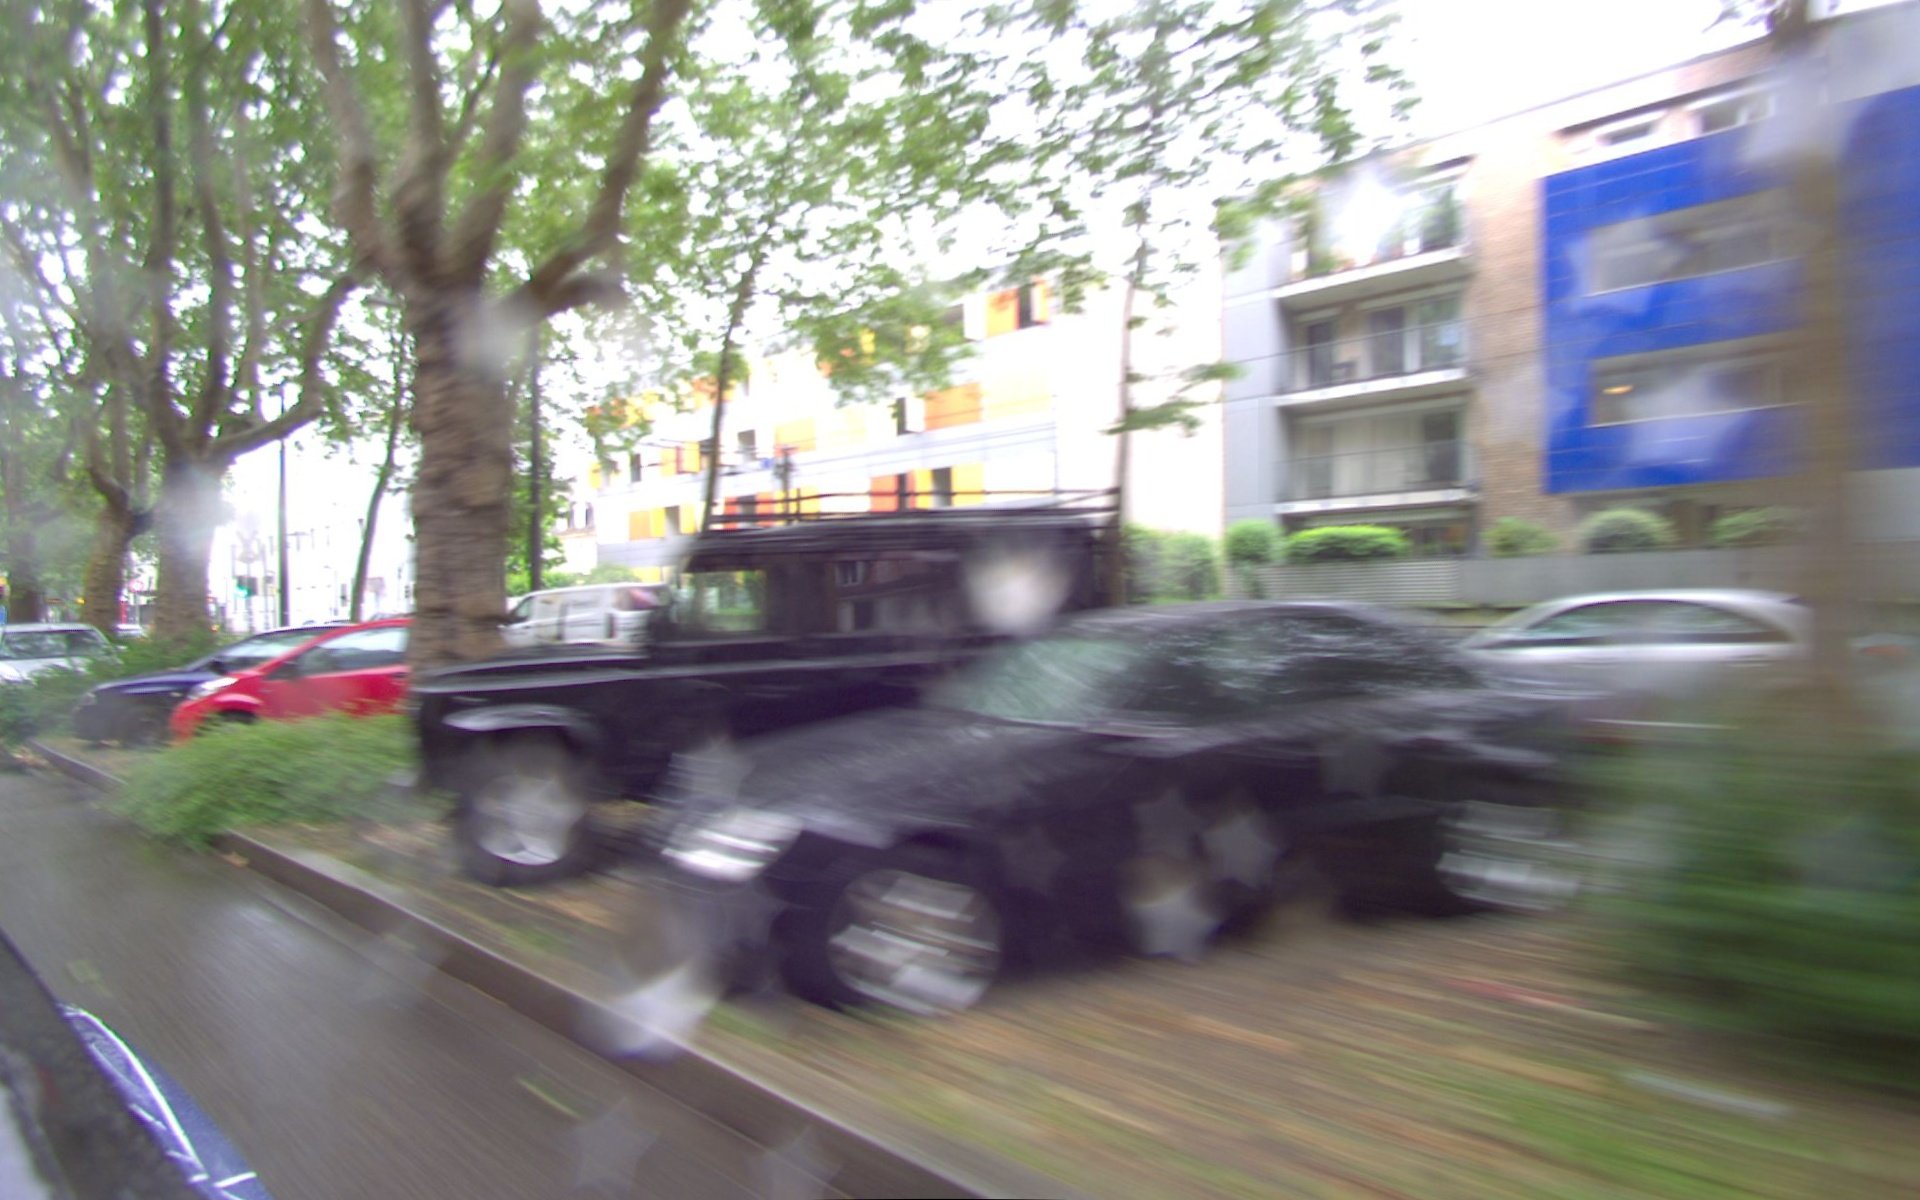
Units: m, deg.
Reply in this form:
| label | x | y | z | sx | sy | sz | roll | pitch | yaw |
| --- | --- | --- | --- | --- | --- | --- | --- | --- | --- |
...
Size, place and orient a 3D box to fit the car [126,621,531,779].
| label | x | y | z | sx | sy | sz | roll | pitch | yaw |
| --- | --- | --- | --- | --- | --- | --- | --- | --- | --- |
| car | -6.524 | 0.970 | 10.937 | 3.442 | 1.447 | 1.787 | 0 | -2 | -22 |

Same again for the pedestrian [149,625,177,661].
| label | x | y | z | sx | sy | sz | roll | pitch | yaw |
| --- | --- | --- | --- | --- | --- | --- | --- | --- | --- |
| pedestrian | -40.663 | 2.182 | 51.632 | 1.205 | 1.813 | 0.926 | -1 | -1 | 41 |

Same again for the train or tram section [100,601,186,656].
| label | x | y | z | sx | sy | sz | roll | pitch | yaw |
| --- | --- | --- | --- | --- | --- | --- | --- | --- | --- |
| train or tram section | -58.656 | 2.014 | 72.512 | 11.547 | 3.669 | 2.869 | -2 | 0 | 42 |

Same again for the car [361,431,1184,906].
| label | x | y | z | sx | sy | sz | roll | pitch | yaw |
| --- | --- | --- | --- | --- | --- | --- | --- | --- | --- |
| car | -1.088 | 0.352 | 6.633 | 4.580 | 2.300 | 2.018 | 0 | -2 | -20 |

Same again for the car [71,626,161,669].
| label | x | y | z | sx | sy | sz | roll | pitch | yaw |
| --- | --- | --- | --- | --- | --- | --- | --- | --- | --- |
| car | -30.390 | 1.684 | 36.418 | 3.997 | 1.431 | 1.815 | -2 | -1 | 40 |

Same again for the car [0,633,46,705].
| label | x | y | z | sx | sy | sz | roll | pitch | yaw |
| --- | --- | --- | --- | --- | --- | --- | --- | --- | --- |
| car | -22.275 | 1.548 | 22.856 | 4.619 | 1.496 | 1.876 | -2 | 0 | 41 |

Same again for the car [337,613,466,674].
| label | x | y | z | sx | sy | sz | roll | pitch | yaw |
| --- | --- | --- | --- | --- | --- | --- | --- | --- | --- |
| car | -16.272 | 1.243 | 29.398 | 4.465 | 1.612 | 1.884 | -2 | -1 | 41 |

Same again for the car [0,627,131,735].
| label | x | y | z | sx | sy | sz | roll | pitch | yaw |
| --- | --- | --- | --- | --- | --- | --- | --- | --- | --- |
| car | -15.234 | 1.263 | 16.698 | 4.205 | 1.526 | 1.711 | -2 | 0 | 41 |

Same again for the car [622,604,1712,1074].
| label | x | y | z | sx | sy | sz | roll | pitch | yaw |
| --- | --- | --- | --- | --- | --- | --- | --- | --- | --- |
| car | 0.924 | 0.713 | 4.615 | 4.579 | 1.336 | 1.853 | 0 | -2 | -22 |

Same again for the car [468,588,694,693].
| label | x | y | z | sx | sy | sz | roll | pitch | yaw |
| --- | --- | --- | --- | --- | --- | --- | --- | --- | --- |
| car | -8.397 | 0.858 | 22.166 | 5.426 | 2.012 | 2.035 | -2 | 0 | 38 |

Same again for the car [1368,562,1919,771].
| label | x | y | z | sx | sy | sz | roll | pitch | yaw |
| --- | --- | --- | --- | --- | --- | --- | --- | --- | --- |
| car | 6.359 | 0.545 | 9.368 | 4.417 | 1.545 | 1.885 | -2 | -1 | 40 |

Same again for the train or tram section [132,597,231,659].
| label | x | y | z | sx | sy | sz | roll | pitch | yaw |
| --- | --- | --- | --- | --- | --- | --- | --- | --- | --- |
| train or tram section | -50.027 | 1.780 | 64.828 | 11.547 | 3.669 | 2.869 | -2 | 0 | 42 |

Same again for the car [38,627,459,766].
| label | x | y | z | sx | sy | sz | roll | pitch | yaw |
| --- | --- | --- | --- | --- | --- | --- | --- | --- | --- |
| car | -8.446 | 1.087 | 12.504 | 3.976 | 1.446 | 1.787 | 0 | -2 | -24 |

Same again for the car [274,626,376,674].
| label | x | y | z | sx | sy | sz | roll | pitch | yaw |
| --- | --- | --- | --- | --- | --- | --- | --- | --- | --- |
| car | -21.814 | 1.694 | 34.691 | 4.387 | 1.474 | 1.884 | -2 | -1 | 42 |
